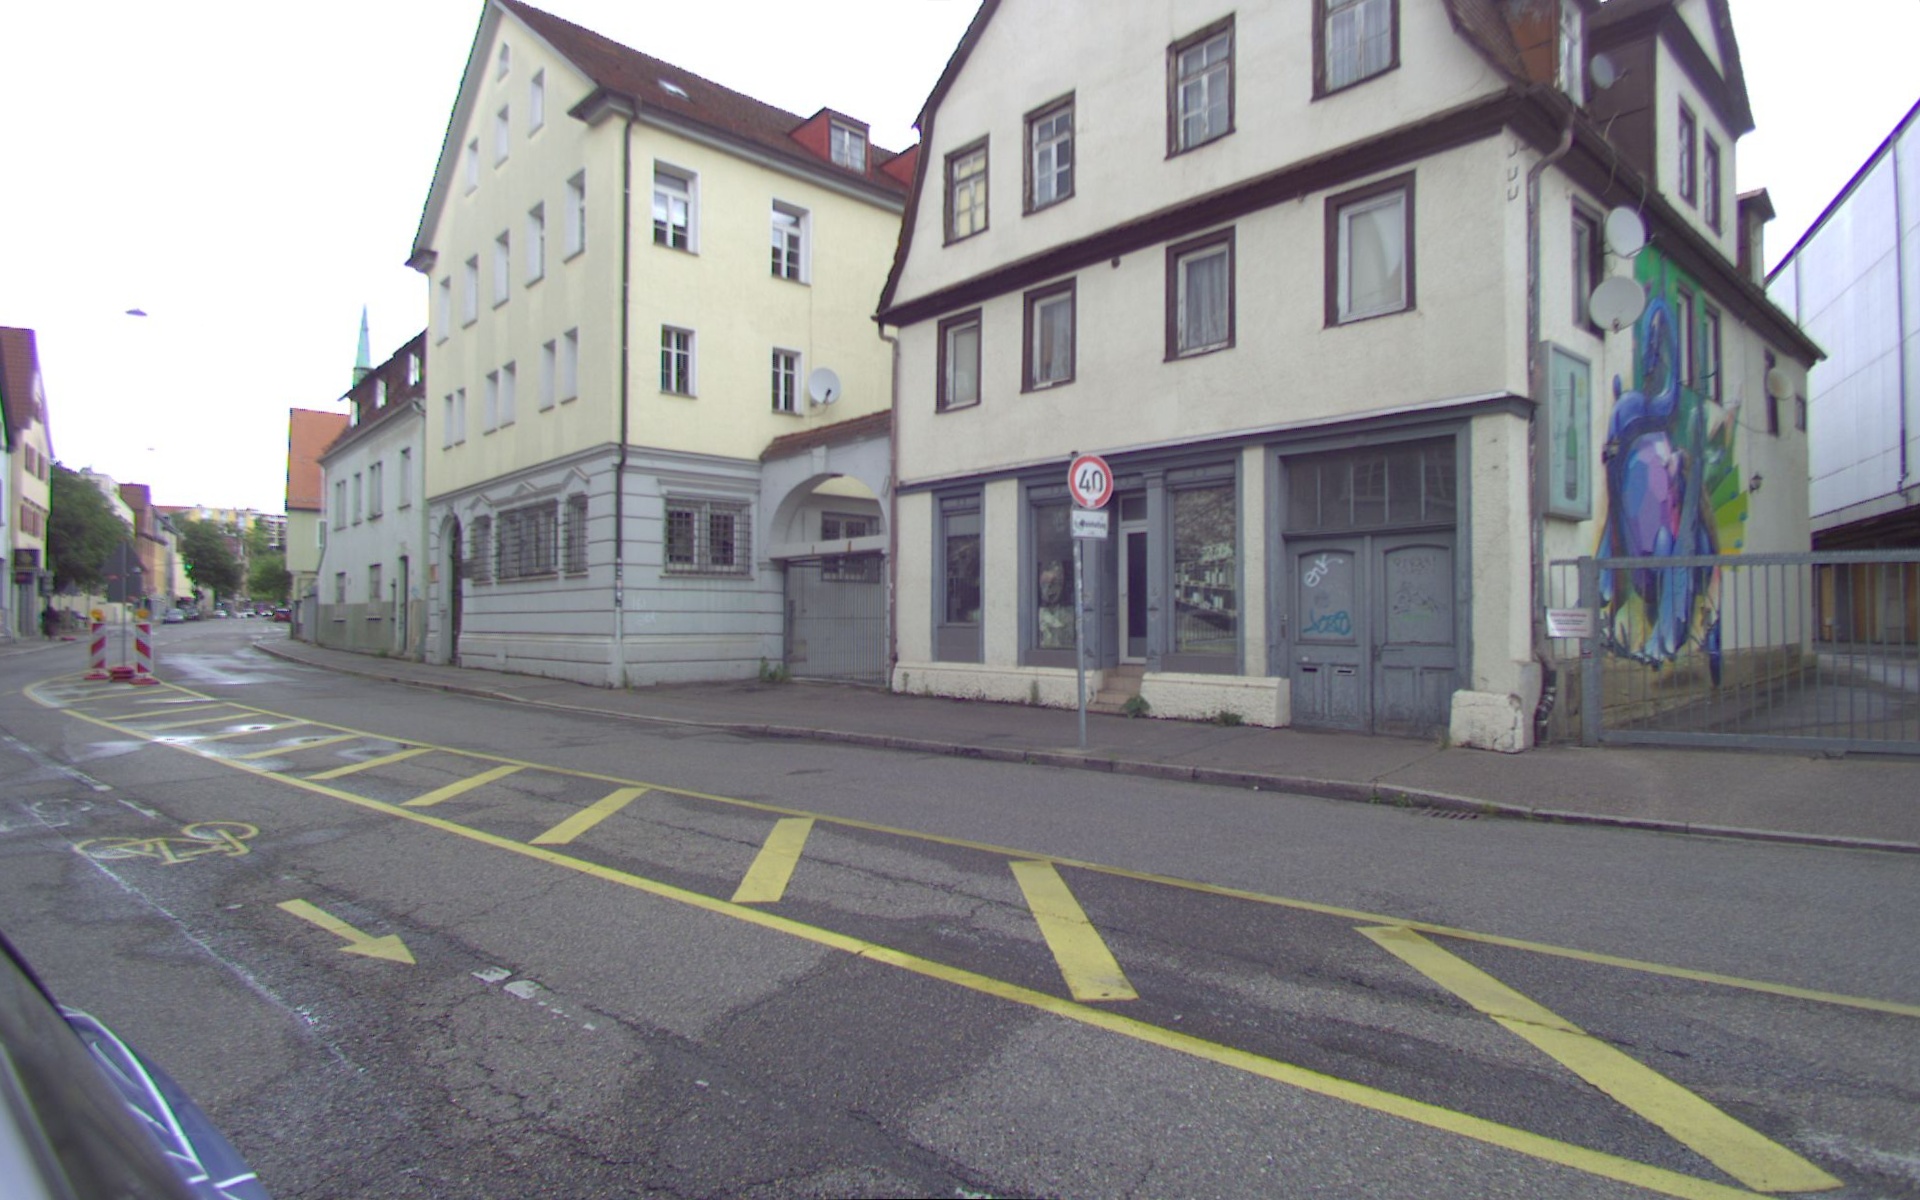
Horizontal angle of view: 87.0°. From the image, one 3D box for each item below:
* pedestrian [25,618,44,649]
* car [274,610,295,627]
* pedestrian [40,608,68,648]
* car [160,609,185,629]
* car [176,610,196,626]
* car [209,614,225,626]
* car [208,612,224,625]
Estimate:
[{"bbox_3d":[-54.925,1.976,60.078,0.653,1.808,0.559,-1,-2,12],"label":"pedestrian"},{"bbox_3d":[-85.684,2.351,128.337,2.027,2.029,4.009,1,-2,-37],"label":"car"},{"bbox_3d":[-43.396,1.343,48.492,0.864,1.914,0.899,1,-2,-36],"label":"pedestrian"},{"bbox_3d":[-84.809,2.078,109.021,1.967,2.029,4.009,1,-2,-37],"label":"car"},{"bbox_3d":[-96.989,2.271,126.788,1.967,2.029,4.009,1,-2,-37],"label":"car"},{"bbox_3d":[-123.541,3.352,168.266,1.967,2.029,4.009,1,-2,-37],"label":"car"},{"bbox_3d":[-114.793,2.887,156.196,1.967,2.029,4.009,1,-2,-37],"label":"car"}]
